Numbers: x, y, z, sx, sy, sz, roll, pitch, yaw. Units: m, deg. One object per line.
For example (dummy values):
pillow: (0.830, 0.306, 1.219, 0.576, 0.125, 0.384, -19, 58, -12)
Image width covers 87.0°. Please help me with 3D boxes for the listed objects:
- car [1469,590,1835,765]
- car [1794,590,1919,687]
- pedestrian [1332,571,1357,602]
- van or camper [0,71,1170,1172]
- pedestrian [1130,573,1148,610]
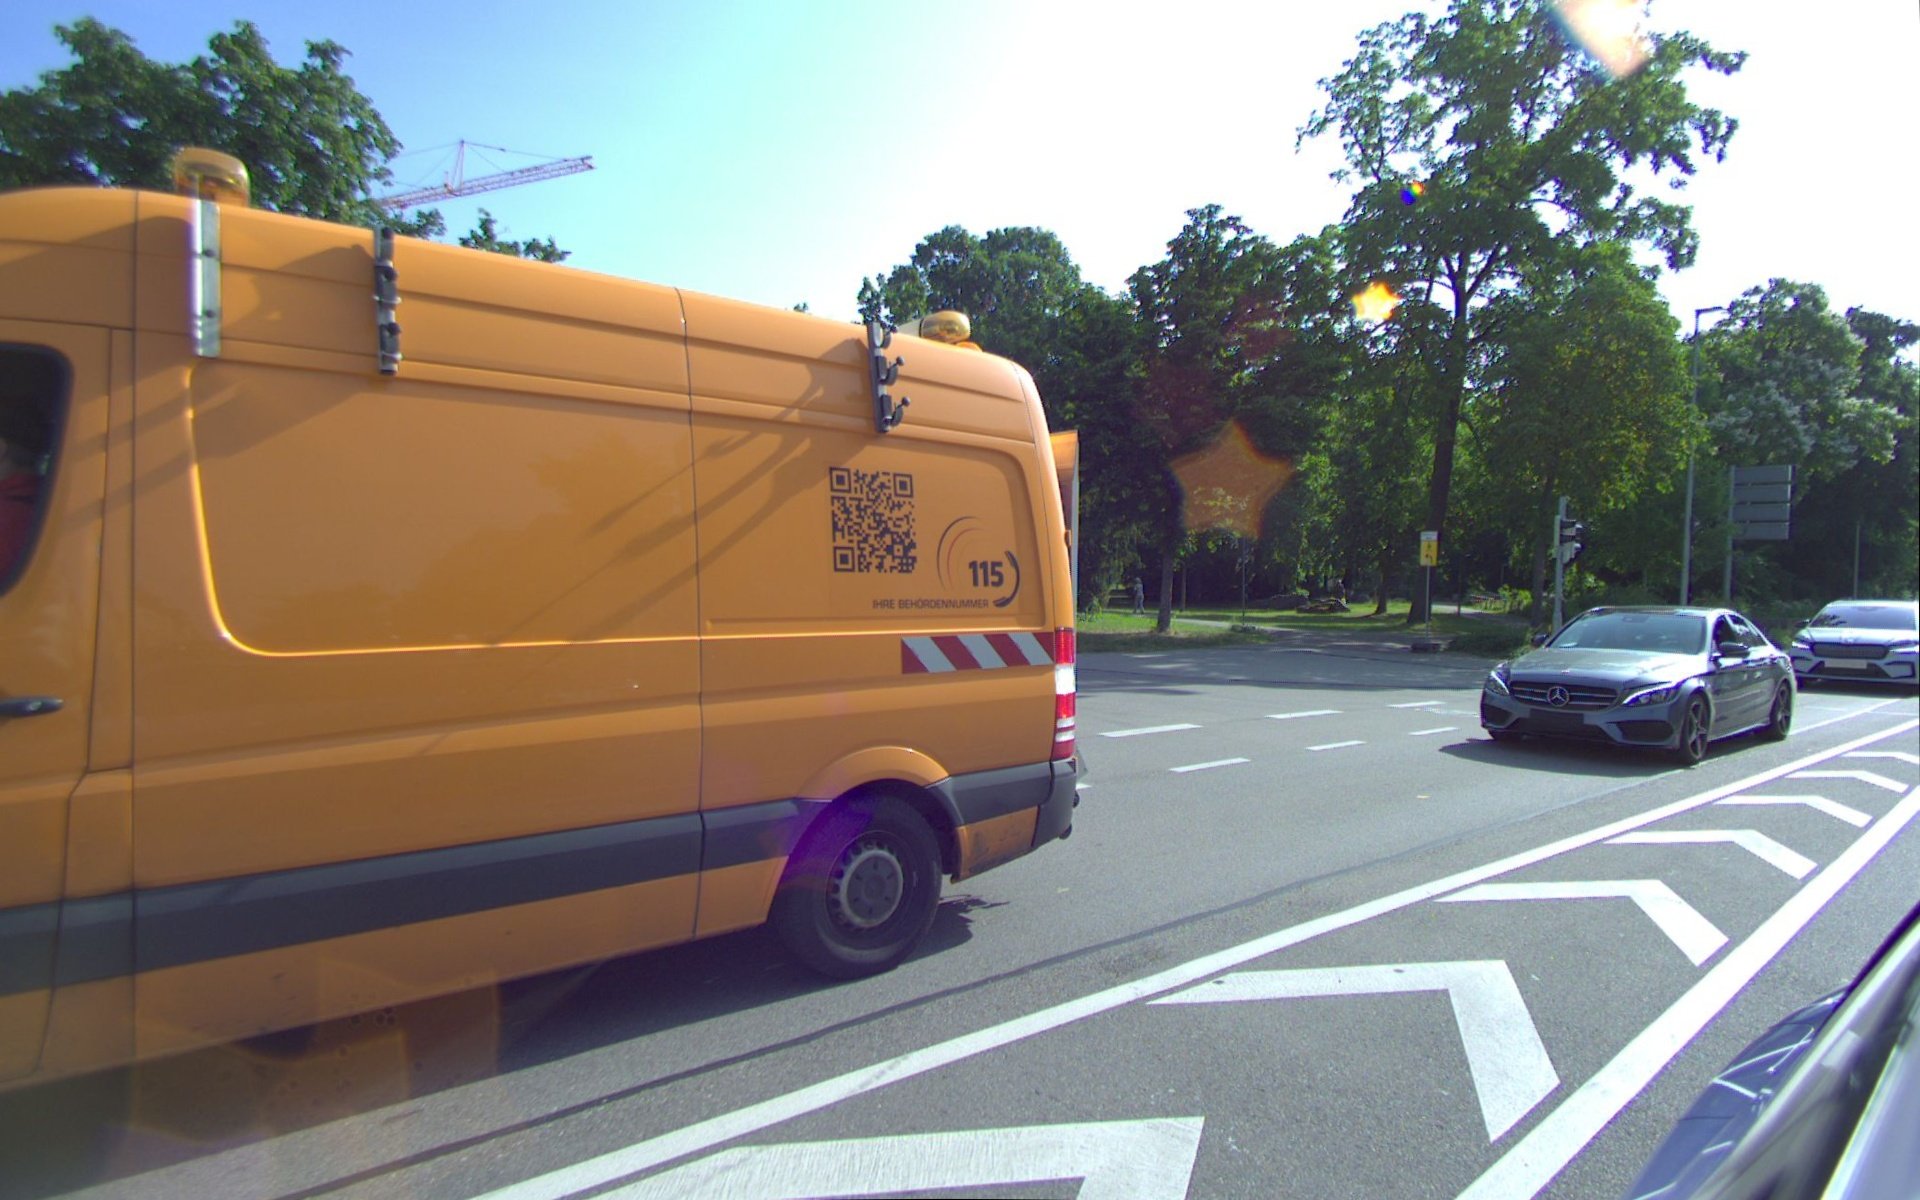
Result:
car: (7.386, 0.660, 10.645, 4.476, 1.463, 1.793, 0, 1, -36)
car: (17.029, 0.622, 18.632, 4.175, 1.590, 1.896, 0, 1, -40)
pedestrian: (23.478, -0.840, 61.824, 1.048, 1.853, 0.987, 1, 1, -10)
van or camper: (-1.995, 0.031, 3.702, 5.949, 2.503, 1.992, 0, 1, -38)
pedestrian: (7.667, -0.375, 43.336, 0.523, 1.536, 0.671, 1, 1, -9)
